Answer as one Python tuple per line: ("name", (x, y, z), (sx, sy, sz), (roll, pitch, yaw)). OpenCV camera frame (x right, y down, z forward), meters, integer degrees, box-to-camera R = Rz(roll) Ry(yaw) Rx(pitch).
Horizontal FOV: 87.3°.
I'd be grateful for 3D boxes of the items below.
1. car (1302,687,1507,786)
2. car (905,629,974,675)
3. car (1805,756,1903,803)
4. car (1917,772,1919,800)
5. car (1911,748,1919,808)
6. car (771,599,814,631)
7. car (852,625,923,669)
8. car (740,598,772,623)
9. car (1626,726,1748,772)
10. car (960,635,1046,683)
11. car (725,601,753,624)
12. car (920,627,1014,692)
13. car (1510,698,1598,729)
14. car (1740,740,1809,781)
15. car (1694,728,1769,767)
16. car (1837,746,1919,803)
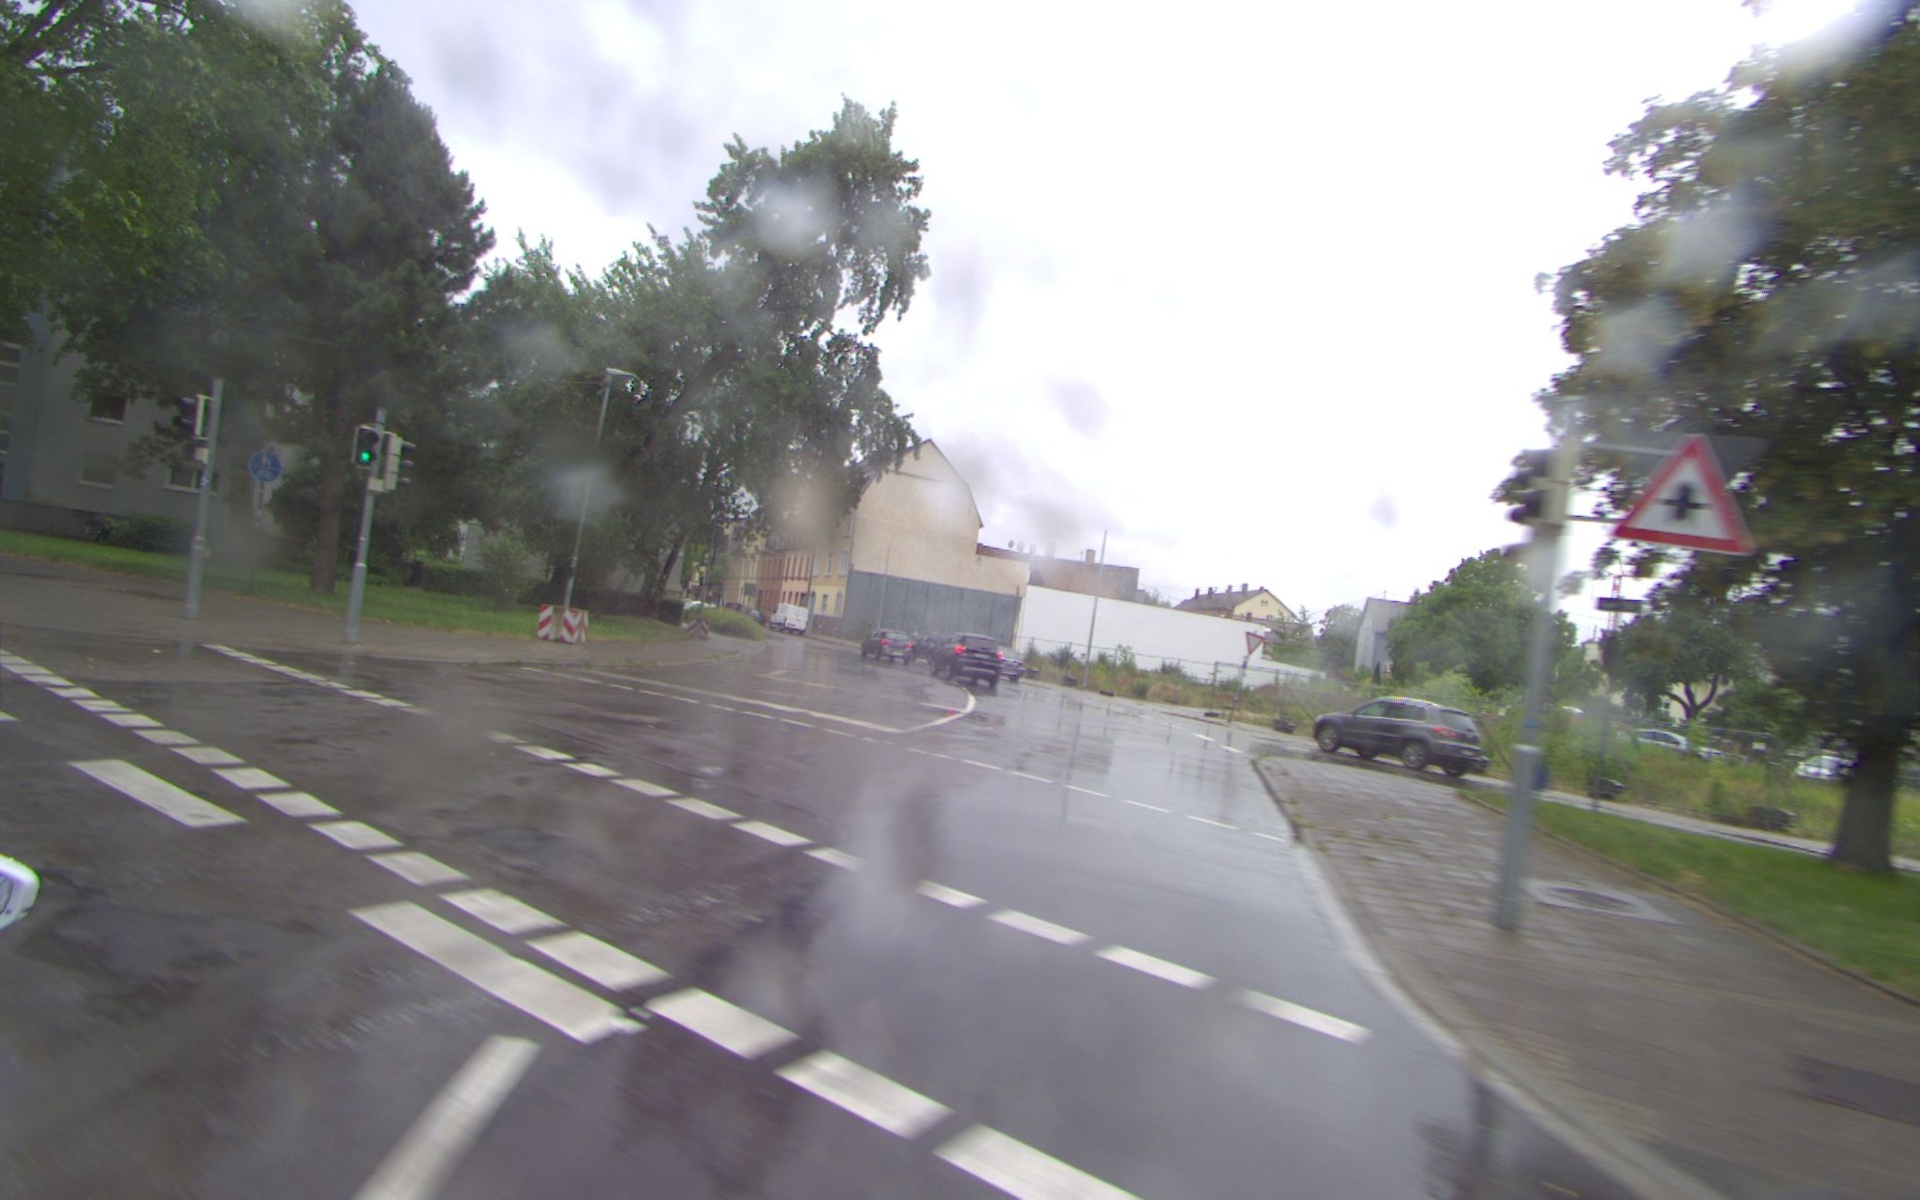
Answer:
("car", (11.023, 3.366, 25.236), (1.842, 1.673, 4.270), (9, -2, -31))
("car", (-1.093, 2.631, 51.347), (1.859, 1.830, 4.067), (9, -2, -24))
("car", (34.931, 7.003, 39.290), (3.961, 1.280, 1.659), (10, -2, -31))
("car", (53.573, 10.048, 54.063), (3.952, 1.935, 1.662), (10, -2, -25))
("car", (35.279, 6.491, 35.180), (3.965, 2.036, 1.982), (10, -2, -34))
("car", (-13.815, 1.216, 82.827), (2.327, 2.233, 4.592), (9, -2, -21))
("car", (-3.535, 2.214, 48.310), (1.976, 1.620, 4.067), (9, -2, -24))
("car", (-19.630, 0.986, 96.599), (2.096, 2.036, 3.981), (9, -2, -22))
("car", (32.302, 6.597, 44.786), (1.755, 1.280, 3.961), (10, -3, -36))
("car", (1.876, 2.632, 45.620), (1.956, 1.566, 4.506), (9, -2, -24))
("car", (-23.451, 1.352, 106.654), (1.974, 2.036, 3.981), (9, -2, -22))
("car", (0.173, 2.018, 35.097), (1.970, 1.763, 4.293), (9, -2, -15))
("car", (34.459, 6.569, 58.486), (1.742, 1.148, 4.389), (9, -2, -15))
("car", (50.729, 9.981, 62.648), (3.952, 1.935, 1.662), (10, -2, -25))
("car", (38.684, 7.412, 50.422), (4.365, 1.425, 1.752), (10, -3, -36))
("car", (42.262, 8.013, 46.108), (3.965, 2.036, 1.982), (10, -2, -34))
